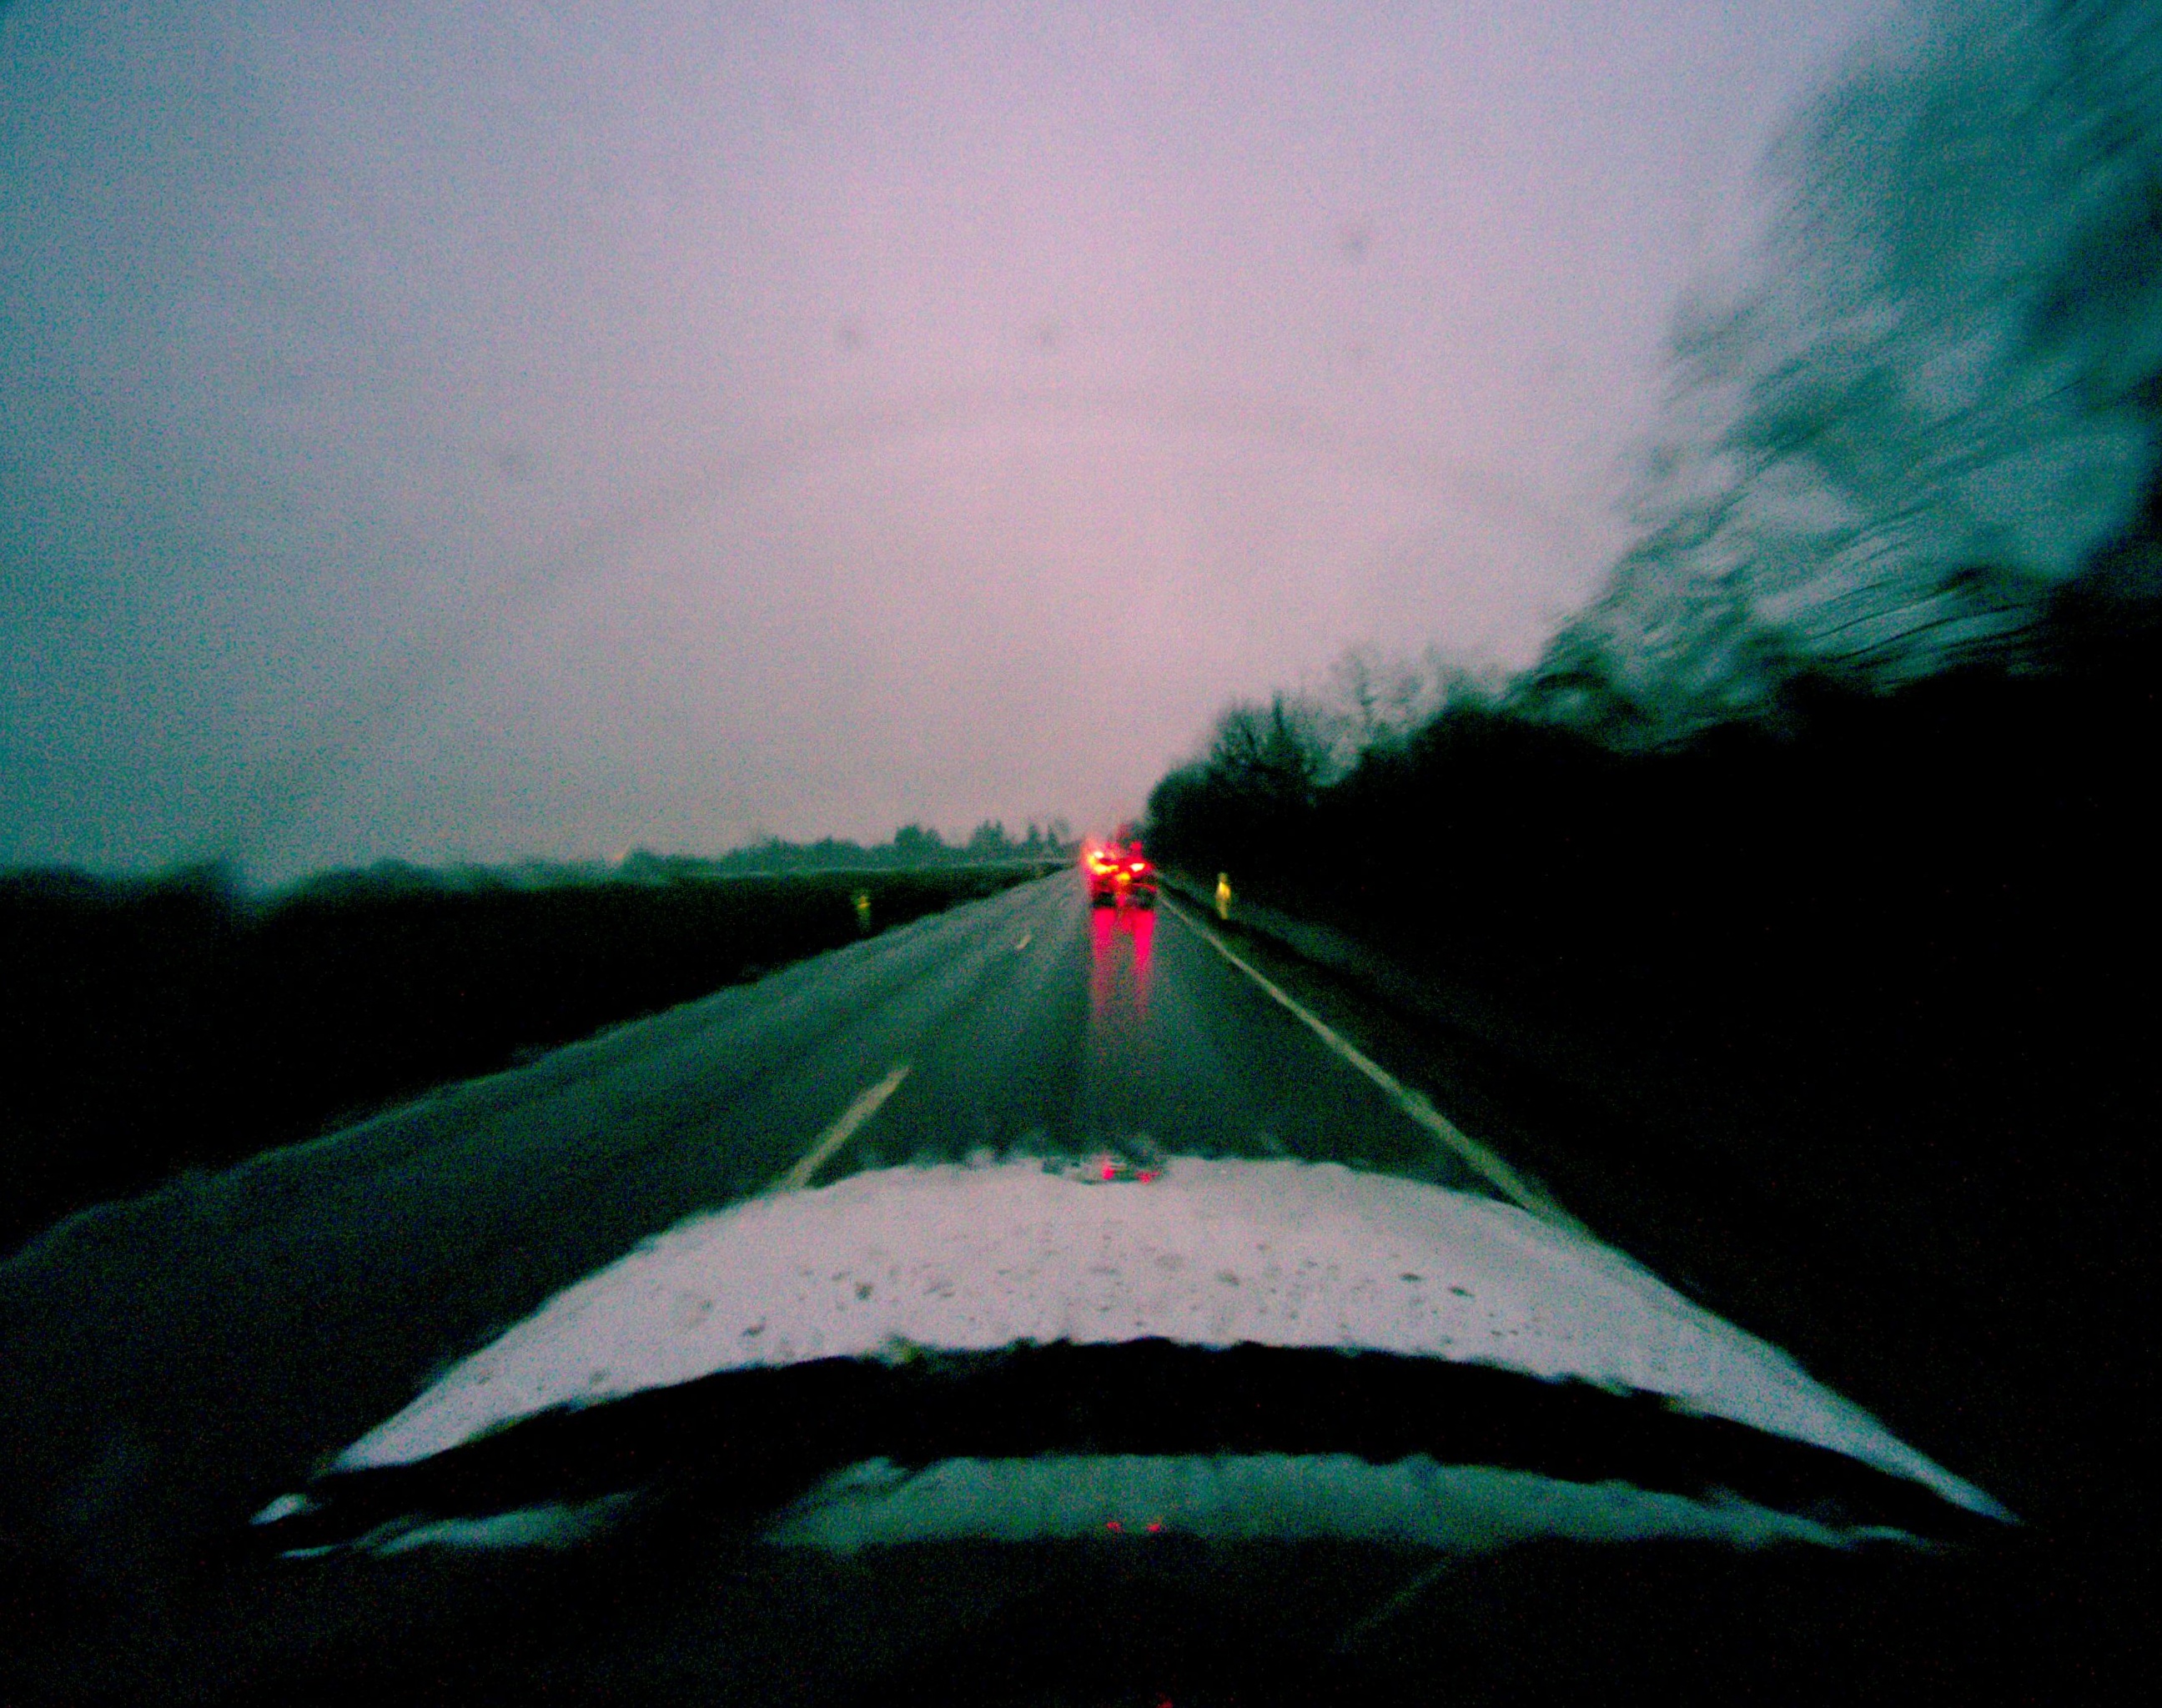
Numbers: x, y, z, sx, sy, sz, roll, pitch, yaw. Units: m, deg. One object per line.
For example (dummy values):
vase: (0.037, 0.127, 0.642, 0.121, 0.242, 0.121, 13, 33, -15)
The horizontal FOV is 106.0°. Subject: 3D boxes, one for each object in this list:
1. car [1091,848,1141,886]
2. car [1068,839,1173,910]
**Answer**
car: (2.091, 0.723, 49.388, 2.745, 2.035, 6.594, -3, 0, 2)
car: (1.359, 0.613, 28.542, 3.152, 2.035, 6.855, -3, 0, 2)
